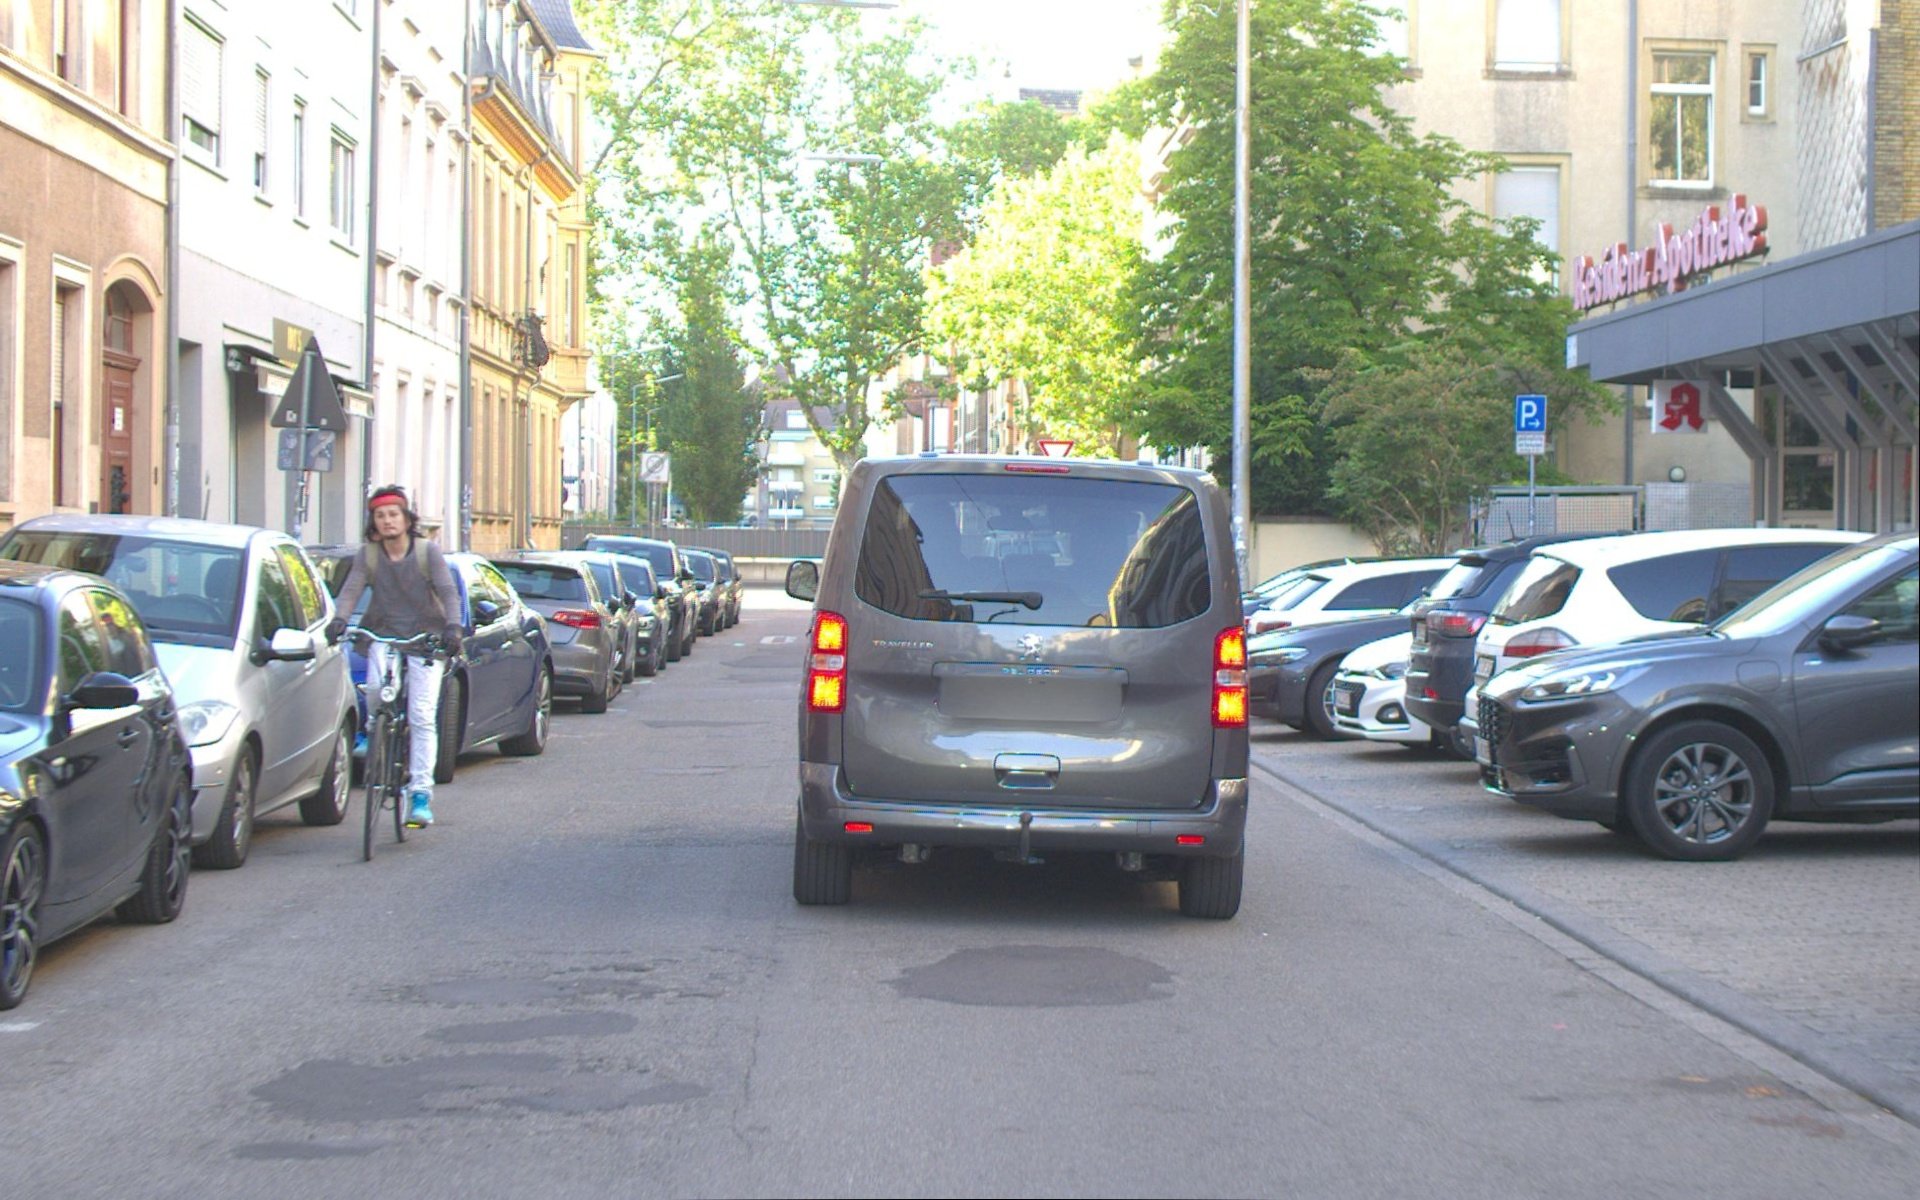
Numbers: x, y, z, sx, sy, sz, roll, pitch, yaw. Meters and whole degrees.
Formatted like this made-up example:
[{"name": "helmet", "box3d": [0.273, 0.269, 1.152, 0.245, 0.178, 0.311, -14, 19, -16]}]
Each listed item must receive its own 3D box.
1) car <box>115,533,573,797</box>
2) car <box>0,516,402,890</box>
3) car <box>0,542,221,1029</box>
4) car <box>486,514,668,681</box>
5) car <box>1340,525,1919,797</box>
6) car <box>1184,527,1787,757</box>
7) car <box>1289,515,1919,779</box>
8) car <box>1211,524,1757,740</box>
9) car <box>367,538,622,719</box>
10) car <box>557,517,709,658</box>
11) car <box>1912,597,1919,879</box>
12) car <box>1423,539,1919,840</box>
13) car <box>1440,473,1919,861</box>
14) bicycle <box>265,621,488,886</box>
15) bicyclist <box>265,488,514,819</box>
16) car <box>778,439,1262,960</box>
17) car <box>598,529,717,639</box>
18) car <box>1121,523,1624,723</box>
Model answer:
[{"name": "car", "box3d": [-3.999, 0.351, 23.138, 1.994, 1.555, 4.584, 1, 1, 3]}, {"name": "car", "box3d": [-4.196, 0.394, 17.232, 1.993, 1.599, 4.585, 1, 1, 0]}, {"name": "car", "box3d": [-3.880, 0.500, 12.325, 1.788, 1.393, 4.468, 2, 1, -5]}, {"name": "car", "box3d": [-4.546, -0.073, 41.332, 1.993, 1.852, 4.586, 1, 1, -5]}, {"name": "car", "box3d": [5.068, 0.394, 23.248, 4.568, 1.699, 2.001, 1, 1, -8]}, {"name": "car", "box3d": [4.350, 0.330, 28.846, 4.568, 1.786, 2.001, 1, 1, -8]}, {"name": "car", "box3d": [4.911, 0.336, 25.947, 4.472, 1.852, 1.885, 1, 1, -8]}, {"name": "car", "box3d": [4.792, 0.273, 31.799, 4.568, 1.852, 2.001, 1, 1, -8]}, {"name": "car", "box3d": [-4.369, 0.213, 32.904, 2.144, 1.555, 4.586, 1, 1, -5]}, {"name": "car", "box3d": [-4.579, -0.211, 48.507, 1.993, 1.852, 4.586, 1, 1, -5]}, {"name": "car", "box3d": [5.557, 0.664, 10.694, 4.625, 1.461, 1.841, -2, 1, -1]}, {"name": "car", "box3d": [5.192, 0.519, 20.610, 4.454, 1.670, 1.797, 1, 1, -6]}, {"name": "car", "box3d": [4.957, 0.334, 17.814, 4.569, 1.852, 2.000, 1, 1, -2]}, {"name": "bicycle", "box3d": [-2.776, 0.697, 16.573, 0.621, 1.134, 2.257, 0, 1, 2]}, {"name": "bicyclist", "box3d": [-2.761, 0.247, 16.735, 1.034, 1.572, 0.833, 0, 1, 3]}, {"name": "car", "box3d": [0.253, 0.344, 15.442, 1.857, 2.007, 4.000, -1, 1, 1]}, {"name": "car", "box3d": [-5.373, -0.326, 61.263, 1.993, 1.852, 4.586, 1, 1, -5]}, {"name": "car", "box3d": [4.052, 0.213, 34.212, 4.568, 1.852, 2.001, 1, 1, -8]}]
